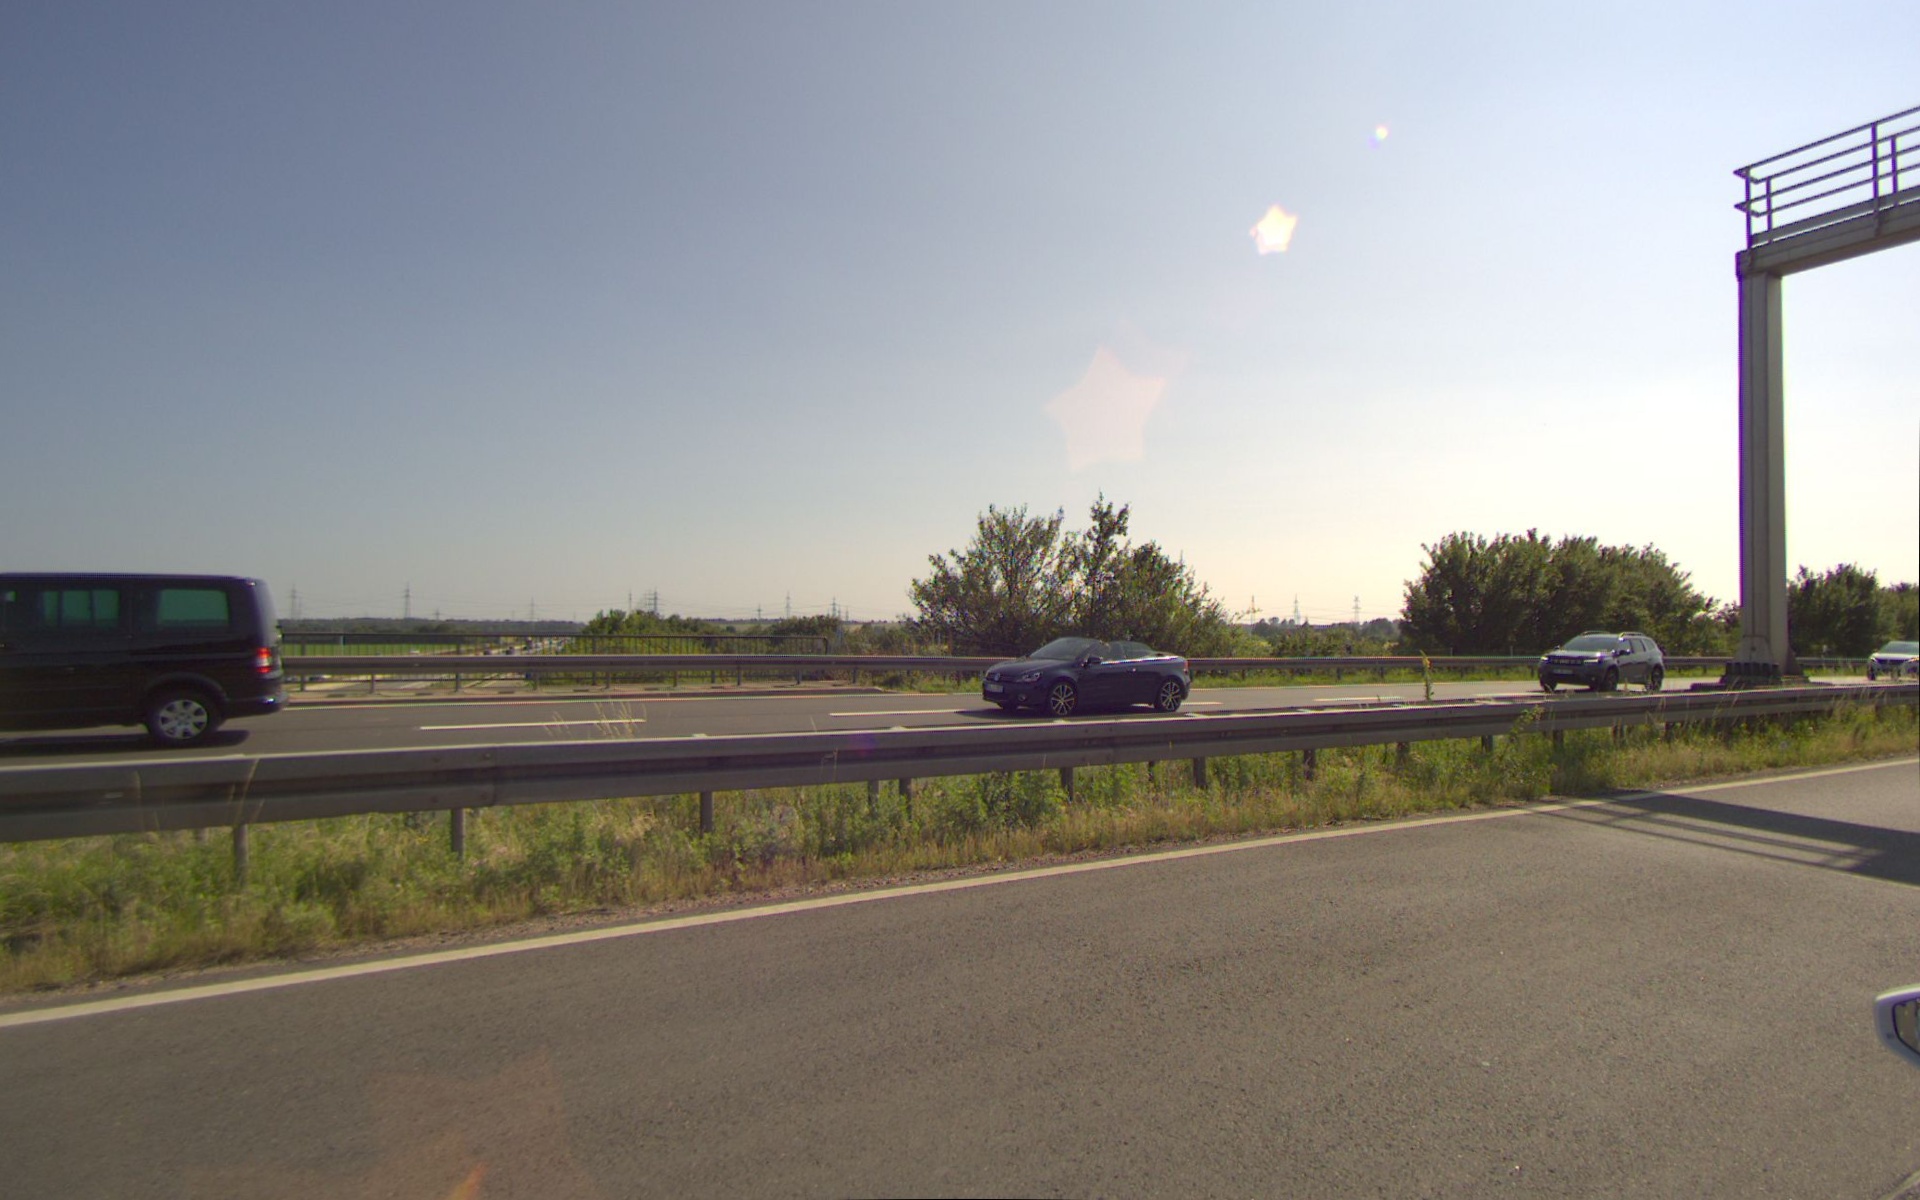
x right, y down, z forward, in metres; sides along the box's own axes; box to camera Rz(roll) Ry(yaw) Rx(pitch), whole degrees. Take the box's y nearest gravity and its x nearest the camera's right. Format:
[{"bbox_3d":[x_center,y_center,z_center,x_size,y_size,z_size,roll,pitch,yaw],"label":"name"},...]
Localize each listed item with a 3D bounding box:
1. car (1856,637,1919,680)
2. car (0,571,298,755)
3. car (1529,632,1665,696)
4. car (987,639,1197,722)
[{"bbox_3d":[40.006,2.446,42.580,4.581,1.642,1.890,2,0,-34],"label":"car"},{"bbox_3d":[-10.300,0.678,11.565,4.370,1.931,1.982,2,-1,-33],"label":"car"},{"bbox_3d":[18.021,1.757,28.375,3.958,1.639,1.723,1,-1,-32],"label":"car"},{"bbox_3d":[2.455,1.410,18.485,3.675,1.287,1.557,1,1,-32],"label":"car"}]
